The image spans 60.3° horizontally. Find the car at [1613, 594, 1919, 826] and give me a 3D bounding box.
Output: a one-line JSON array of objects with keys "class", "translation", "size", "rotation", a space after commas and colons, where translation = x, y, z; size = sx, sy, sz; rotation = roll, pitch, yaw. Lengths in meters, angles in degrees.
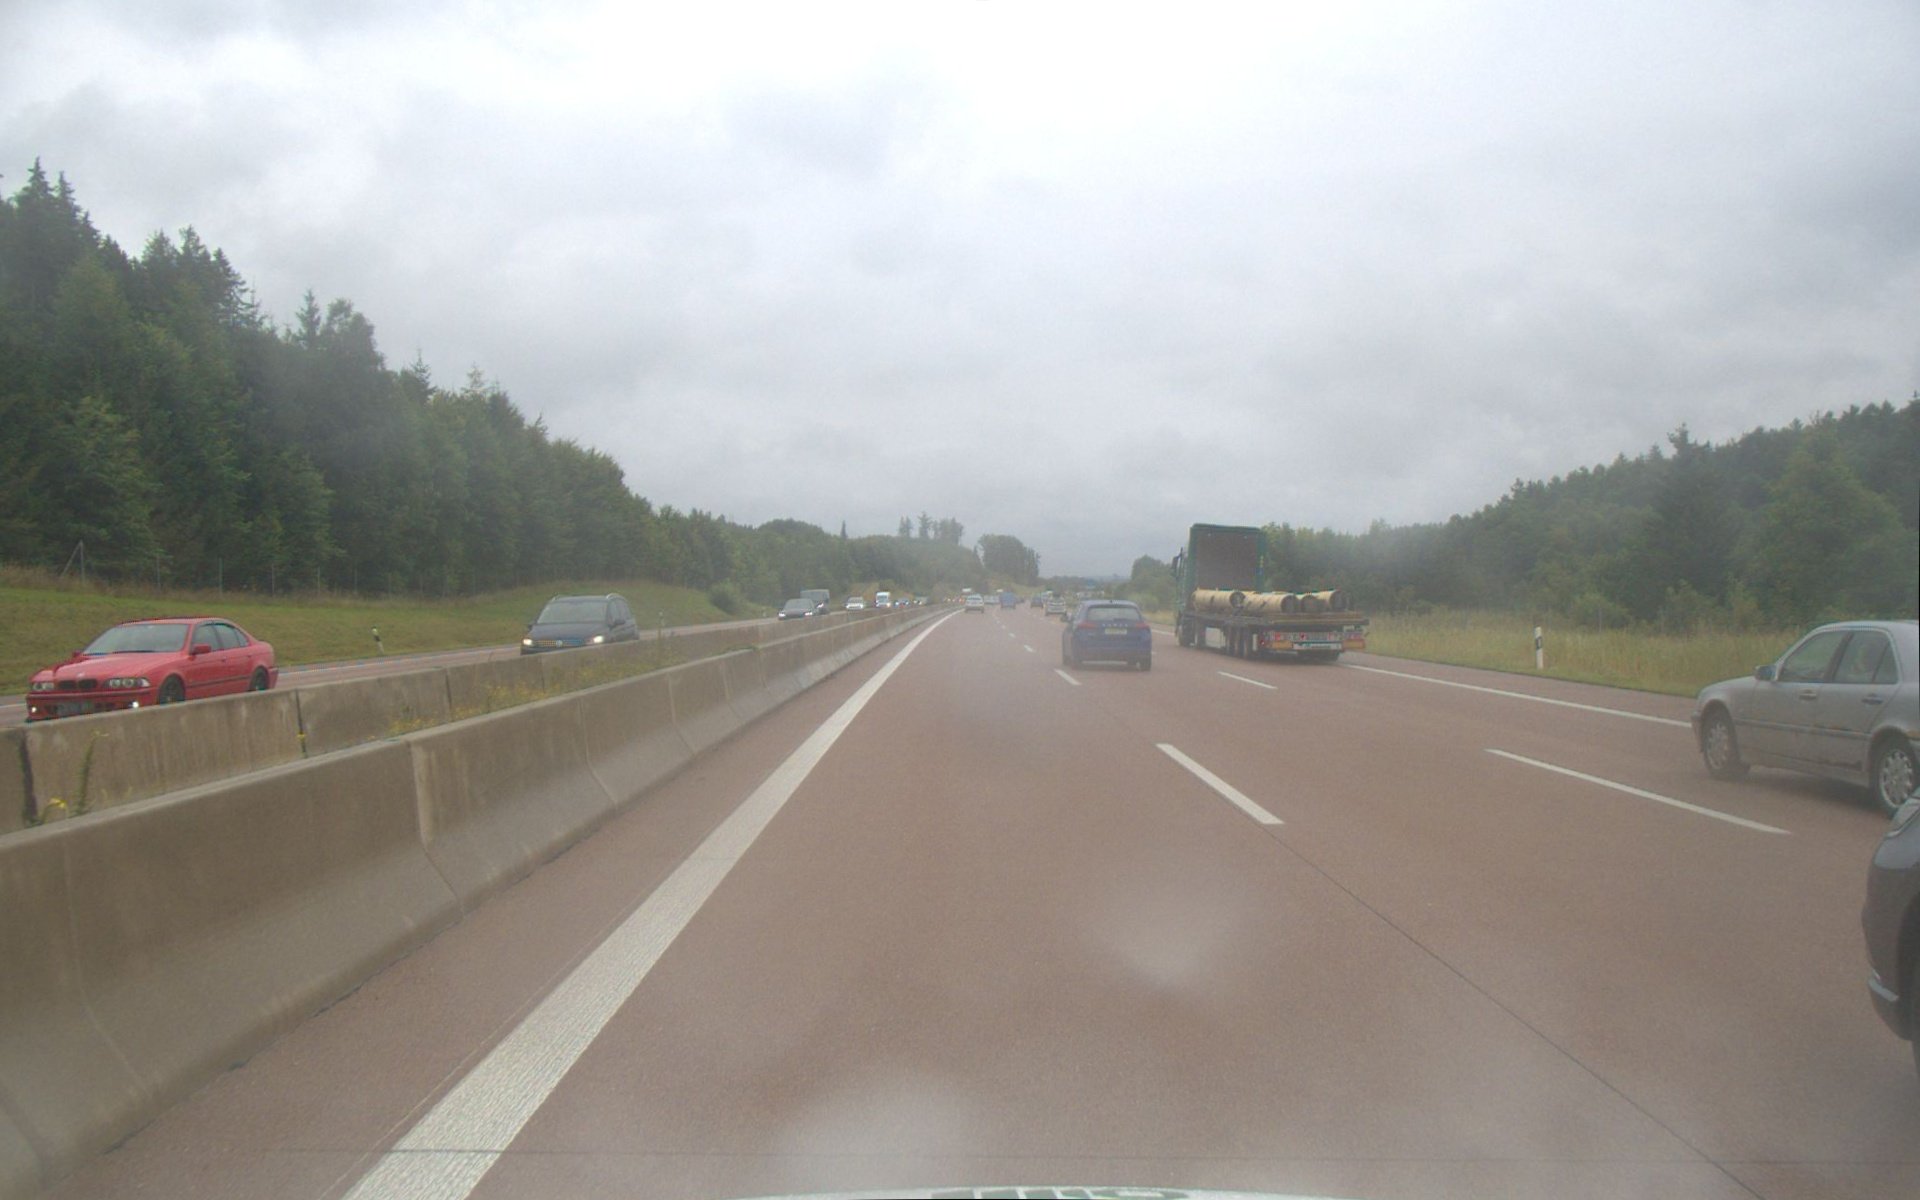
[{"class": "car", "translation": [7.446, 0.819, 14.236], "size": [1.663, 1.640, 4.976], "rotation": [0, -1, 0]}]

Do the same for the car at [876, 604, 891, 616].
[{"class": "car", "translation": [-9.668, 1.211, 208.491], "size": [1.616, 1.414, 4.810], "rotation": [-3, 0, 0]}]

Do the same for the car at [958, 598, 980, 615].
[{"class": "car", "translation": [0.854, 0.647, 155.266], "size": [1.836, 1.470, 4.874], "rotation": [1, -1, -2]}]

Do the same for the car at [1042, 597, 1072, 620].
[{"class": "car", "translation": [8.192, 0.733, 140.617], "size": [2.275, 1.780, 4.876], "rotation": [1, -1, 0]}]

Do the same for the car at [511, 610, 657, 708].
[{"class": "car", "translation": [-7.929, 1.212, 35.512], "size": [1.781, 1.874, 6.236], "rotation": [1, -1, -1]}]

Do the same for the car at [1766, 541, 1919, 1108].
[{"class": "car", "translation": [3.745, 0.622, 2.733], "size": [1.953, 1.620, 5.819], "rotation": [1, -1, -1]}]

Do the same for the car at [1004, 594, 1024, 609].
[{"class": "car", "translation": [6.644, 0.196, 204.157], "size": [2.275, 1.780, 4.876], "rotation": [1, -1, 0]}]

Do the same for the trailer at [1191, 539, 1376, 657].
[{"class": "trailer", "translation": [8.387, 0.061, 44.521], "size": [2.822, 2.722, 11.397], "rotation": [1, -1, 1]}]

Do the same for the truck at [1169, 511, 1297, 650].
[{"class": "truck", "translation": [8.457, -0.509, 52.054], "size": [2.837, 4.034, 6.988], "rotation": [1, -1, 0]}]

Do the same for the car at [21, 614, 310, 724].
[{"class": "car", "translation": [-11.327, 0.942, 24.060], "size": [1.781, 1.393, 5.113], "rotation": [1, -1, -1]}]

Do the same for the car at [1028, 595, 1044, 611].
[{"class": "car", "translation": [10.404, 0.374, 226.341], "size": [1.953, 2.049, 3.999], "rotation": [1, -1, 0]}]

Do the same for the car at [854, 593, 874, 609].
[{"class": "car", "translation": [-9.707, 0.131, 167.778], "size": [1.752, 1.584, 4.865], "rotation": [-2, 0, 0]}]

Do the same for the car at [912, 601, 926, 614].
[{"class": "car", "translation": [-5.584, 1.017, 225.237], "size": [1.819, 1.737, 6.163], "rotation": [1, -1, 0]}]

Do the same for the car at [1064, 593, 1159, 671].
[{"class": "car", "translation": [3.285, 0.701, 36.493], "size": [1.735, 1.591, 4.146], "rotation": [1, -1, 0]}]

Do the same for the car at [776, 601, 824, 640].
[{"class": "car", "translation": [-8.142, 1.070, 84.679], "size": [1.739, 1.889, 5.322], "rotation": [1, -1, 2]}]
